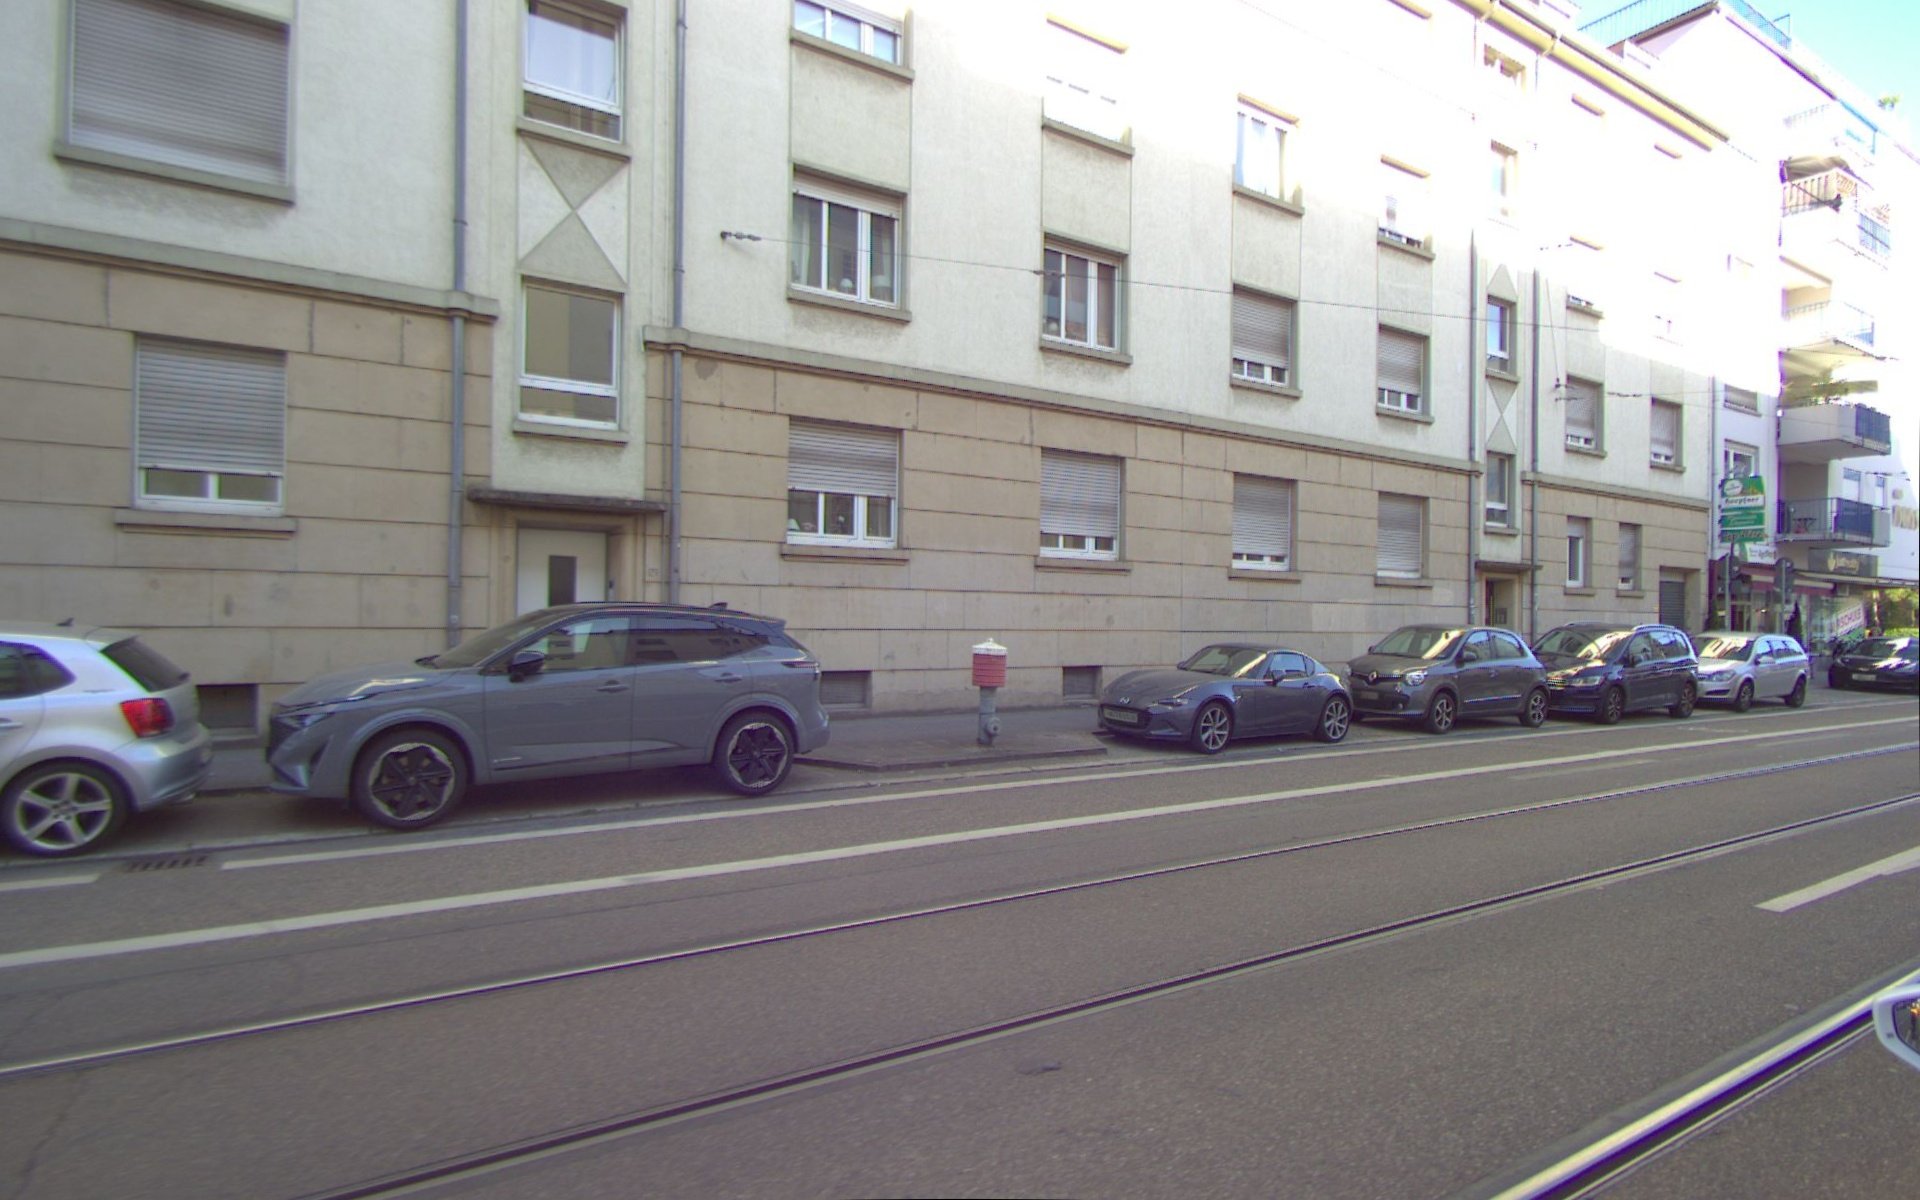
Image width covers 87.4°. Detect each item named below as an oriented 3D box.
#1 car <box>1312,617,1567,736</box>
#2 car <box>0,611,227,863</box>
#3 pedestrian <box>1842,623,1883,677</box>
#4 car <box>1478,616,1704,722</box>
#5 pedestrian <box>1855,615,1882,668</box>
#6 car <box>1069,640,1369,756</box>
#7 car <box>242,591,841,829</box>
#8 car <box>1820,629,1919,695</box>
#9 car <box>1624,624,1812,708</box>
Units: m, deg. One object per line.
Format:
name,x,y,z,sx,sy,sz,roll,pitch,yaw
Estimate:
car,7.500,1.125,15.629,3.955,1.590,1.690,2,0,-32
car,-7.119,0.812,6.245,3.955,1.434,1.690,2,1,-32
pedestrian,26.810,1.470,29.834,0.712,1.569,0.694,0,-1,-29
car,11.195,1.169,17.754,4.196,1.637,1.690,2,0,-32
pedestrian,35.455,1.604,39.197,0.481,2.040,0.682,1,-1,-34
car,3.410,1.187,13.045,3.746,1.232,1.689,2,0,-33
car,-3.358,0.783,8.575,4.356,1.588,1.690,1,-1,-32
car,24.559,1.605,26.446,4.264,1.529,1.690,2,0,-32
car,15.772,1.332,20.843,4.339,1.529,1.689,2,0,-33
